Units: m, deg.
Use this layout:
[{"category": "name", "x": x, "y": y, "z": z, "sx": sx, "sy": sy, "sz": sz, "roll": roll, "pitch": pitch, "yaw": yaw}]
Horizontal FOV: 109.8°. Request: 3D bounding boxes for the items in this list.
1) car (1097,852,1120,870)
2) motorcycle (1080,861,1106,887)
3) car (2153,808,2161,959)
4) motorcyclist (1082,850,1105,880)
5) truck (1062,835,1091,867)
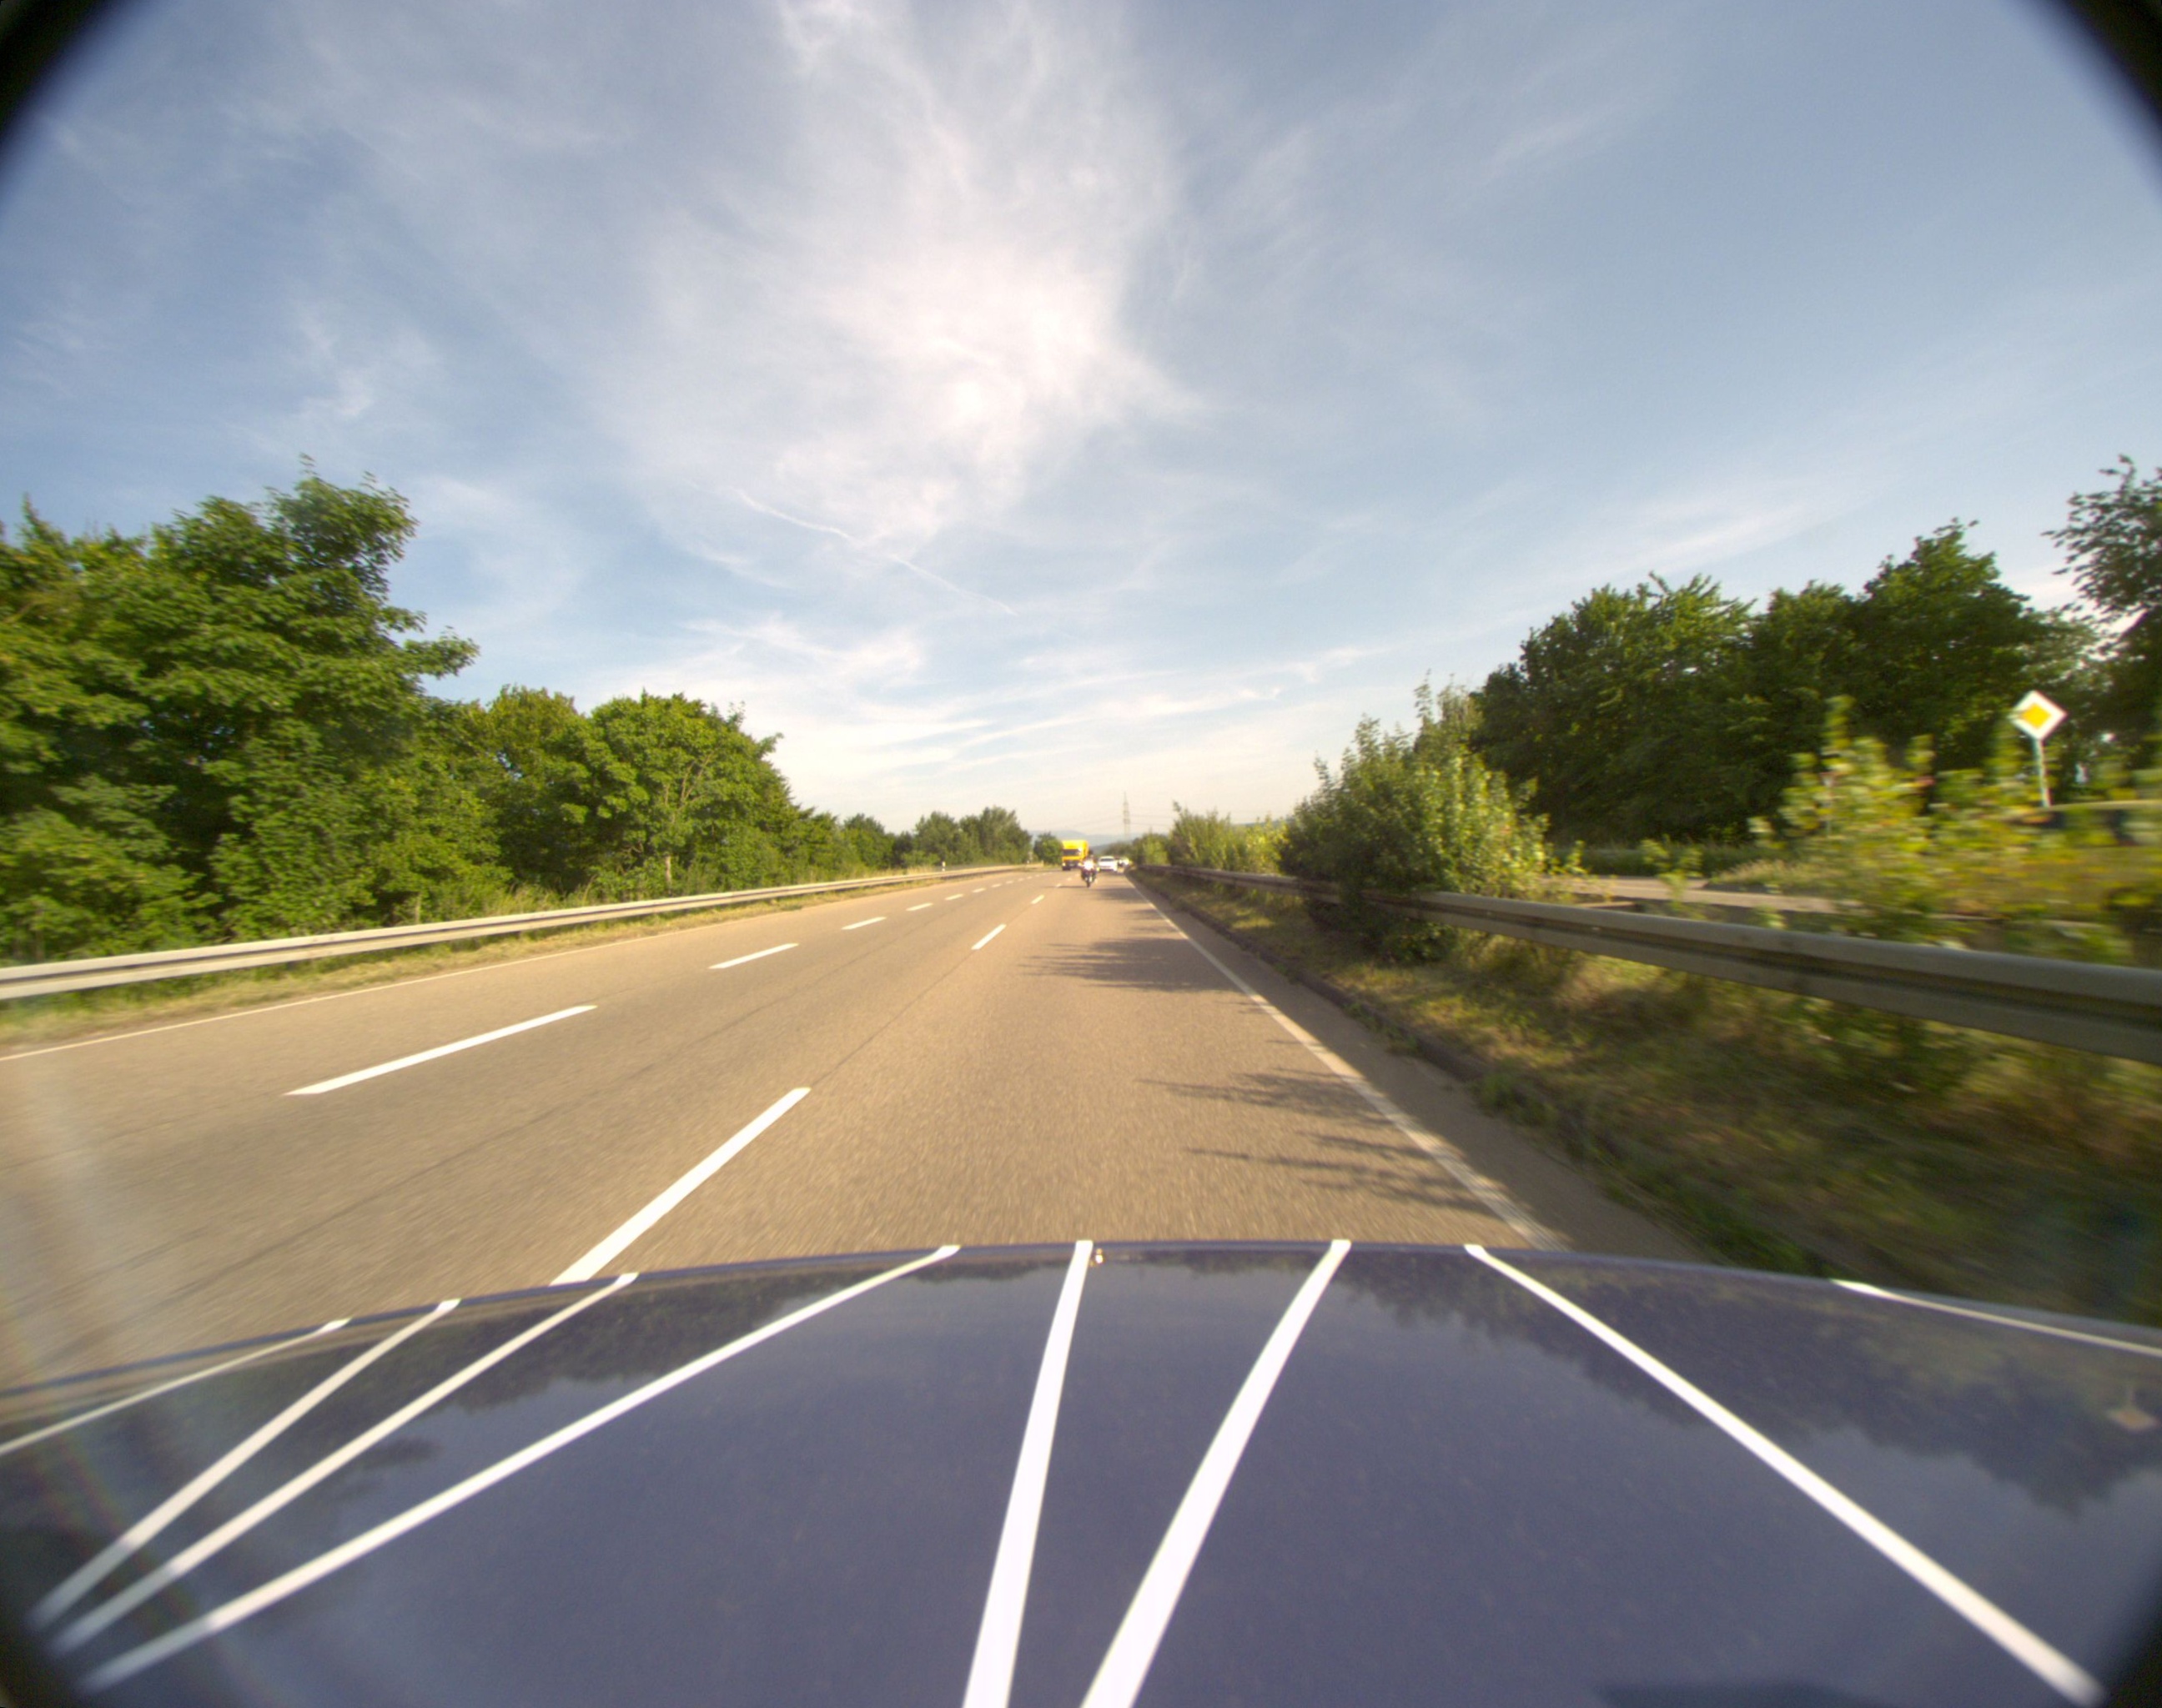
[{"category": "car", "x": 2.578, "y": 0.622, "z": 70.070, "sx": 1.868, "sy": 1.454, "sz": 4.085, "roll": -2, "pitch": 0, "yaw": 5}, {"category": "motorcycle", "x": 0.610, "y": 0.955, "z": 36.346, "sx": 0.936, "sy": 1.131, "sz": 2.583, "roll": -1, "pitch": 0, "yaw": 7}, {"category": "car", "x": 11.243, "y": 0.276, "z": 5.781, "sx": 1.647, "sy": 1.466, "sz": 3.238, "roll": -2, "pitch": 0, "yaw": 2}, {"category": "motorcyclist", "x": 0.594, "y": 0.516, "z": 36.346, "sx": 0.936, "sy": 1.344, "sz": 1.143, "roll": -1, "pitch": 1, "yaw": 7}, {"category": "truck", "x": -0.425, "y": -0.282, "z": 87.209, "sx": 2.785, "sy": 3.297, "sz": 10.491, "roll": -2, "pitch": -1, "yaw": 2}]
